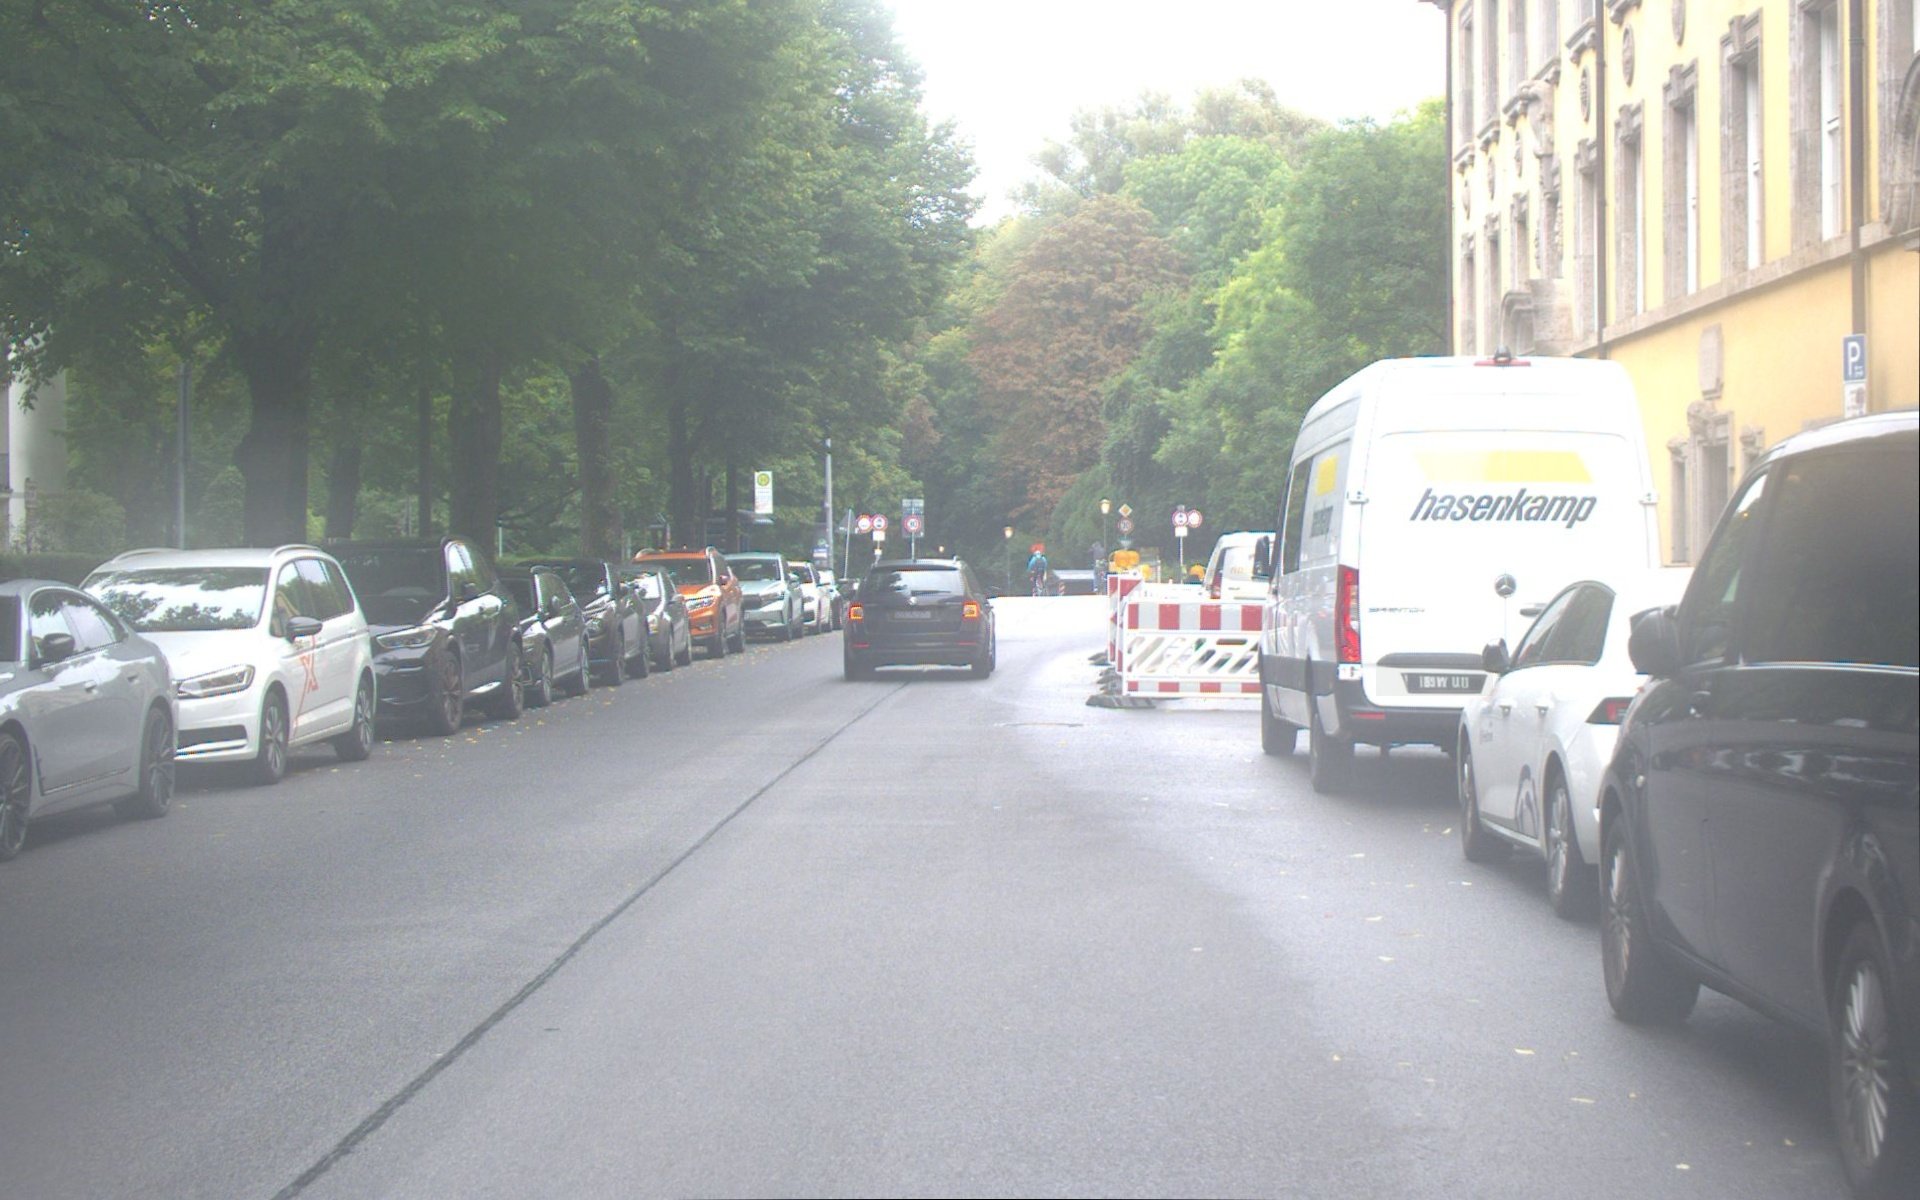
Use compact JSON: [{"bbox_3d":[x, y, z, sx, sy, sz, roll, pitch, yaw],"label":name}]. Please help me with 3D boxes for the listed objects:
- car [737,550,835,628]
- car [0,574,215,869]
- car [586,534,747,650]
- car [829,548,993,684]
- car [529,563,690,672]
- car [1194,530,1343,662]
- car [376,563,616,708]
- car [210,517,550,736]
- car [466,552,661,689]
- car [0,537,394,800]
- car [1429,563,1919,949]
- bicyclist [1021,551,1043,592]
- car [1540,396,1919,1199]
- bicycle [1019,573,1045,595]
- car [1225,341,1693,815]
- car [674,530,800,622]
[{"bbox_3d":[-3.443,-0.235,68.569,1.577,1.492,4.199,-1,1,2],"label":"car"},{"bbox_3d":[-5.654,0.602,19.079,1.809,1.464,4.997,-1,1,2],"label":"car"},{"bbox_3d":[-4.556,-0.152,53.981,1.873,1.722,4.640,-1,1,3],"label":"car"},{"bbox_3d":[-0.556,0.166,42.260,1.577,1.578,4.043,-1,1,5],"label":"car"},{"bbox_3d":[-4.900,0.218,48.499,1.727,1.418,4.251,-1,1,1],"label":"car"},{"bbox_3d":[4.269,-0.054,48.083,1.739,1.744,4.356,-1,0,1],"label":"car"},{"bbox_3d":[-4.946,0.333,37.224,1.719,1.446,4.695,-1,1,3],"label":"car"},{"bbox_3d":[-5.207,0.198,31.560,1.994,1.791,4.920,-2,1,3],"label":"car"},{"bbox_3d":[-4.847,0.208,42.617,1.786,1.569,4.486,-1,1,1],"label":"car"},{"bbox_3d":[-5.444,0.424,24.435,1.765,1.616,4.522,-3,0,4],"label":"car"},{"bbox_3d":[3.309,0.574,15.252,1.871,1.453,4.255,-1,1,0],"label":"car"},{"bbox_3d":[2.689,-1.060,128.044,0.680,1.499,0.901,-1,1,-6],"label":"bicyclist"},{"bbox_3d":[2.915,0.481,9.213,1.871,1.862,4.987,-1,1,0],"label":"car"},{"bbox_3d":[2.680,-0.598,128.197,0.679,0.827,2.110,-1,0,-7],"label":"bicycle"},{"bbox_3d":[3.125,-0.161,23.328,2.054,2.664,7.614,-1,1,0],"label":"car"},{"bbox_3d":[-4.027,-0.448,62.703,1.815,1.596,4.513,-1,1,2],"label":"car"}]
